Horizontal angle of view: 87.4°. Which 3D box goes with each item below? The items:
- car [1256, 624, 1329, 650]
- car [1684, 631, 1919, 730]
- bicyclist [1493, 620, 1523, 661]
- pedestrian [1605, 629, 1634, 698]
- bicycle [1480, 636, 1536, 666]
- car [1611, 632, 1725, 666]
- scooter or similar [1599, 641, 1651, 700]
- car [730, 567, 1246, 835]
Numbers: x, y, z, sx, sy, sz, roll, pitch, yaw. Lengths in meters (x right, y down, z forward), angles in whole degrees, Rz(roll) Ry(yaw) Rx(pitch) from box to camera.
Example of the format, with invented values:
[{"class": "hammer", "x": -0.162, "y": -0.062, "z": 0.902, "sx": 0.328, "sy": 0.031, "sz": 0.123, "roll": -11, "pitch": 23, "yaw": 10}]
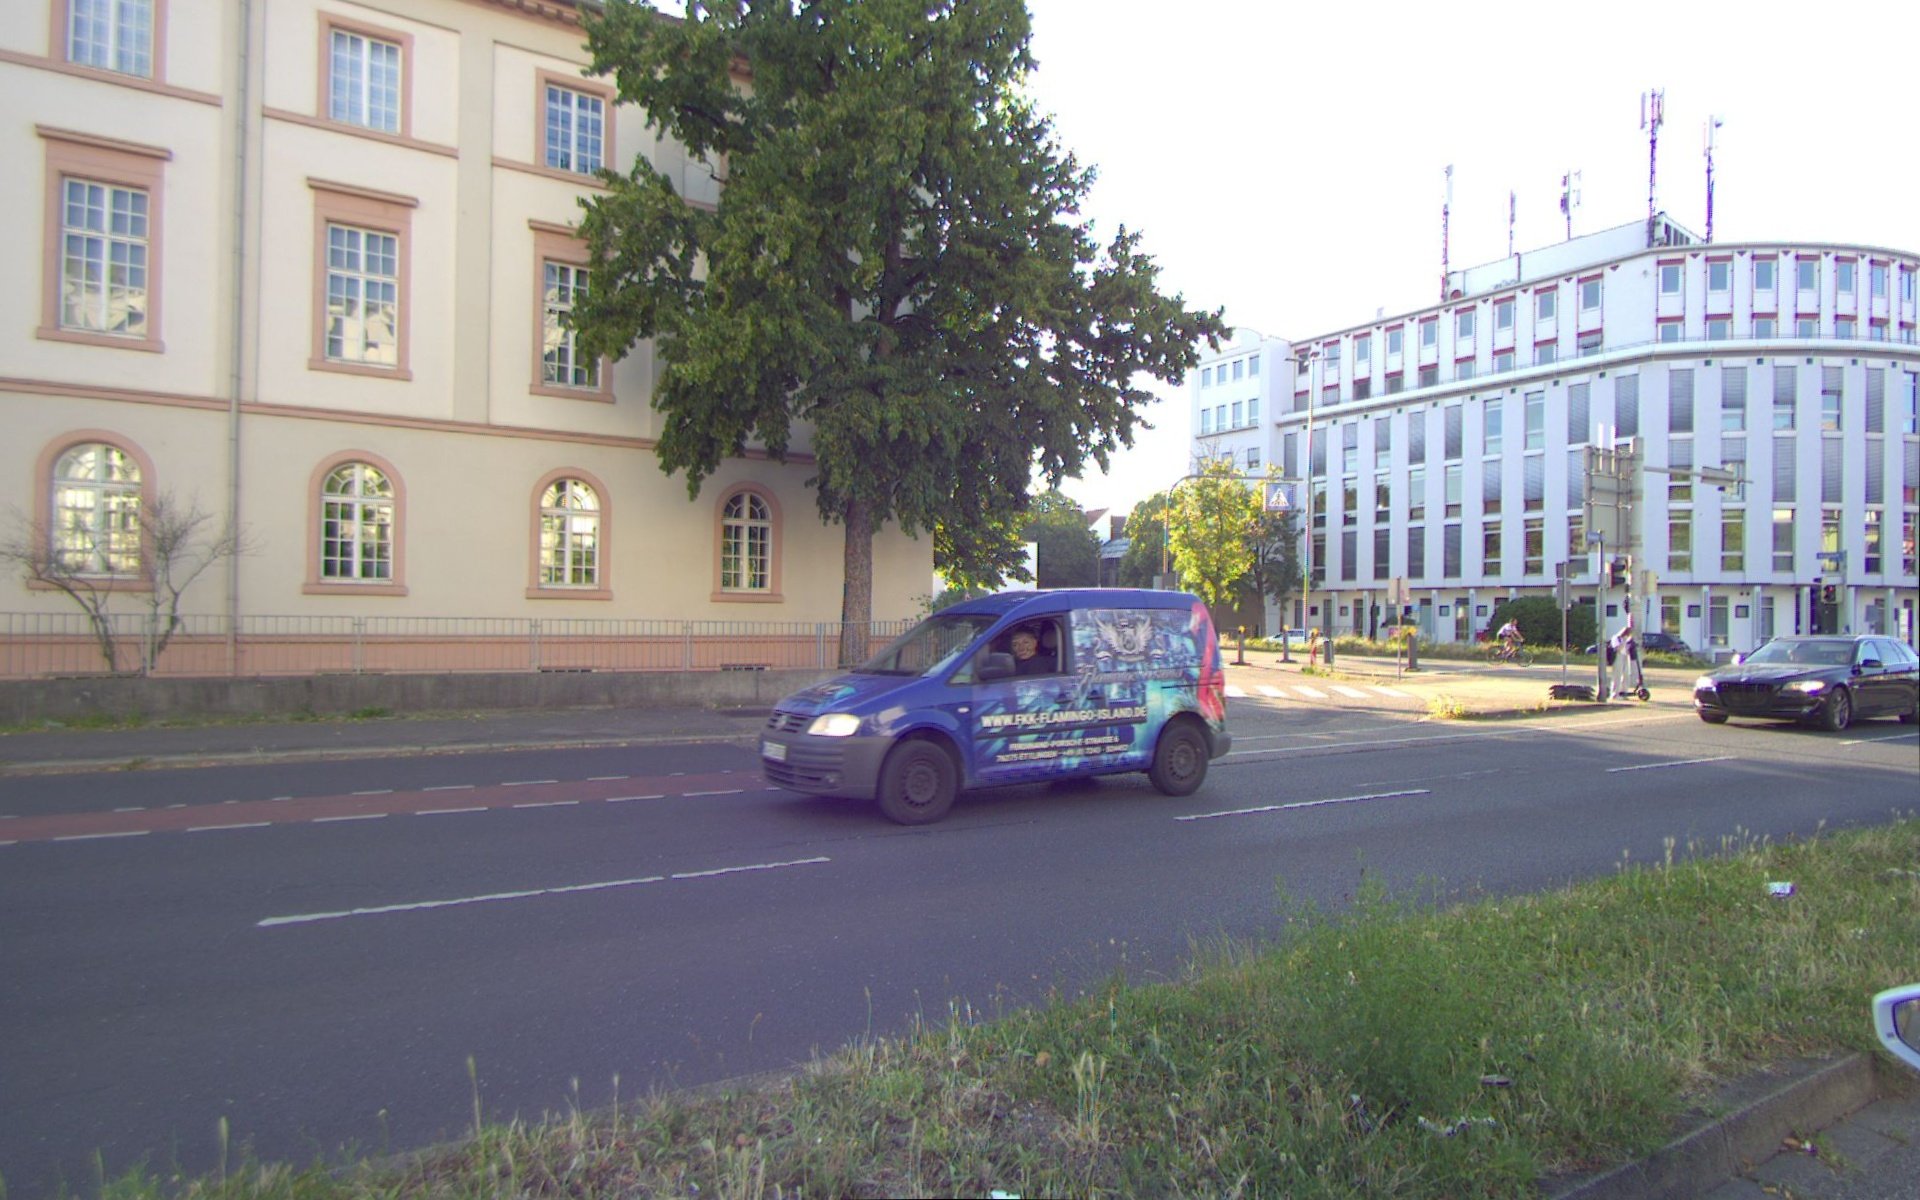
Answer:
[{"class": "car", "x": 18.994, "y": 2.116, "z": 57.523, "sx": 1.634, "sy": 1.390, "sz": 3.757, "roll": 1, "pitch": -1, "yaw": -35}, {"class": "car", "x": 14.098, "y": 1.260, "z": 16.652, "sx": 4.187, "sy": 1.461, "sz": 1.691, "roll": 1, "pitch": -1, "yaw": -27}, {"class": "bicyclist", "x": 20.385, "y": 1.498, "z": 37.377, "sx": 0.453, "sy": 1.516, "sz": 0.879, "roll": 1, "pitch": -1, "yaw": -36}, {"class": "pedestrian", "x": 14.688, "y": 1.402, "z": 22.357, "sx": 0.332, "sy": 1.525, "sz": 0.470, "roll": 1, "pitch": -1, "yaw": -41}, {"class": "bicycle", "x": 20.377, "y": 1.900, "z": 37.361, "sx": 0.498, "sy": 1.056, "sz": 1.786, "roll": 1, "pitch": -1, "yaw": -35}, {"class": "car", "x": 29.801, "y": 2.023, "z": 42.364, "sx": 1.819, "sy": 1.313, "sz": 3.579, "roll": 1, "pitch": -1, "yaw": -37}, {"class": "scooter or similar", "x": 14.741, "y": 1.543, "z": 22.269, "sx": 0.368, "sy": 1.250, "sz": 0.885, "roll": 1, "pitch": -1, "yaw": -40}, {"class": "car", "x": 0.318, "y": 0.754, "z": 8.880, "sx": 4.182, "sy": 1.841, "sz": 1.983, "roll": 1, "pitch": -1, "yaw": -32}]
